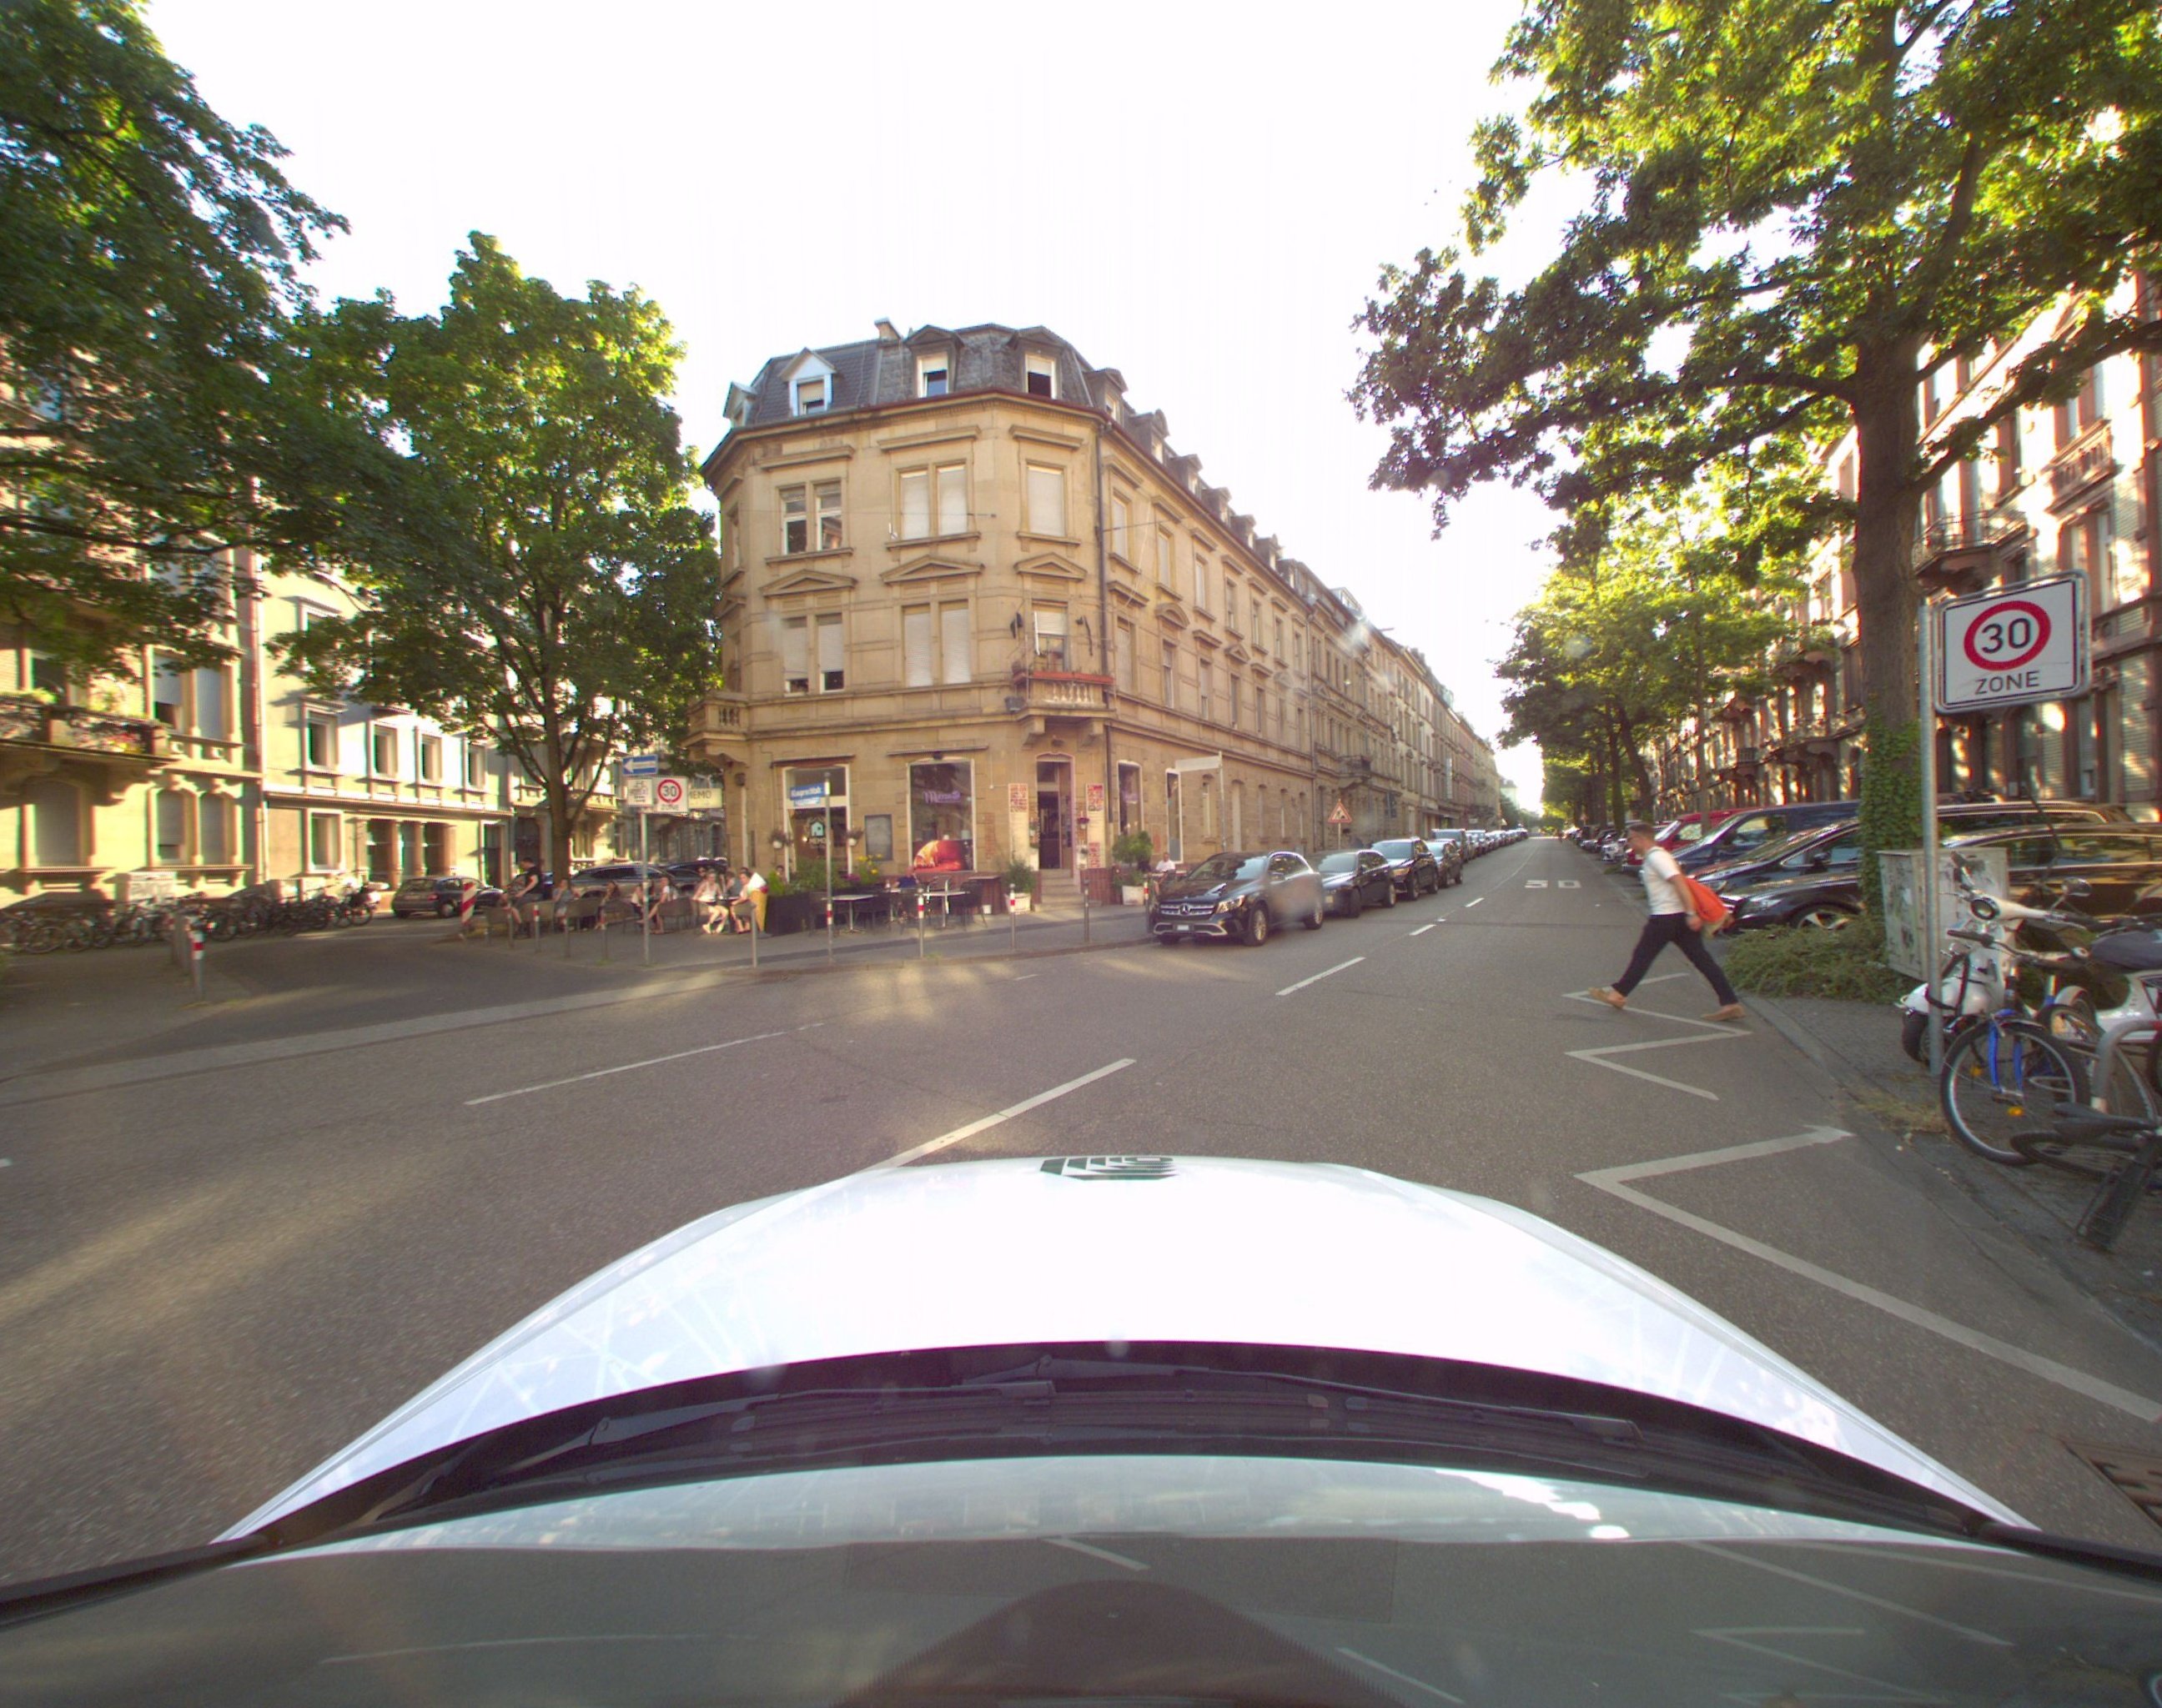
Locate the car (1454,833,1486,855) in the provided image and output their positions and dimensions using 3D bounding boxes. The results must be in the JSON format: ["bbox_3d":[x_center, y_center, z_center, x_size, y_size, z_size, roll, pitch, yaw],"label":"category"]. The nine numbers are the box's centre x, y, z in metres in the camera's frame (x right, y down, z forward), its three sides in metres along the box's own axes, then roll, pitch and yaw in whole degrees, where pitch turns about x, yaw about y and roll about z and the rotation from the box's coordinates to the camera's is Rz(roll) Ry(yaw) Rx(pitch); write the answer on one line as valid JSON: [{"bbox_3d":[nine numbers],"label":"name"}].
[{"bbox_3d":[27.303,-0.728,57.093,1.742,1.467,4.025,0,2,29],"label":"car"}]

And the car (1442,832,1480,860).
[{"bbox_3d":[23.998,-0.529,51.383,1.737,1.608,4.412,0,1,31],"label":"car"}]

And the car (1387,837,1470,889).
[{"bbox_3d":[11.657,0.254,27.167,1.741,1.501,4.086,-3,0,34],"label":"car"}]

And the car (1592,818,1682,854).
[{"bbox_3d":[33.207,-1.077,48.762,4.180,1.776,1.847,-4,-1,29],"label":"car"}]

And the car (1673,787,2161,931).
[{"bbox_3d":[11.354,0.169,11.596,4.641,1.679,1.863,-4,-1,36],"label":"car"}]

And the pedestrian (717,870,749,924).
[{"bbox_3d":[-8.215,1.014,19.245,0.476,1.248,0.436,-2,1,28],"label":"pedestrian"}]

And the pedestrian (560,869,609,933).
[{"bbox_3d":[-11.664,1.094,19.131,0.659,1.441,0.772,-4,0,43],"label":"pedestrian"}]

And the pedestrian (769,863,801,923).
[{"bbox_3d":[-6.961,0.914,19.136,0.476,1.367,0.436,-2,1,22],"label":"pedestrian"}]

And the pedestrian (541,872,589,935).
[{"bbox_3d":[-12.497,1.192,19.714,0.659,1.441,0.772,-4,0,43],"label":"pedestrian"}]

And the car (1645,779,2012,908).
[{"bbox_3d":[14.288,-0.122,16.085,4.973,2.215,2.005,-2,0,30],"label":"car"}]

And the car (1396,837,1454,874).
[{"bbox_3d":[15.853,0.024,37.422,1.741,1.501,4.086,-3,0,33],"label":"car"}]

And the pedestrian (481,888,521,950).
[{"bbox_3d":[-12.996,1.431,18.239,0.498,1.320,0.576,-2,1,41],"label":"pedestrian"}]

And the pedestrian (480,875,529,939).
[{"bbox_3d":[-13.370,1.224,18.900,0.660,1.412,0.772,-4,-1,45],"label":"pedestrian"}]

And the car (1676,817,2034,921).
[{"bbox_3d":[12.653,0.259,13.727,4.066,1.534,1.735,-2,0,31],"label":"car"}]

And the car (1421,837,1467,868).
[{"bbox_3d":[18.413,-0.117,41.248,1.577,1.475,3.723,0,1,32],"label":"car"}]

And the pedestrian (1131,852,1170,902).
[{"bbox_3d":[1.803,0.599,21.113,0.718,1.259,0.761,-2,0,28],"label":"pedestrian"}]

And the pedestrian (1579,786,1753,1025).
[{"bbox_3d":[5.037,0.415,7.108,1.103,1.898,0.848,-2,0,31],"label":"pedestrian"}]

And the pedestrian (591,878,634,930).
[{"bbox_3d":[-11.511,1.216,20.004,0.659,1.215,0.682,-4,0,41],"label":"pedestrian"}]

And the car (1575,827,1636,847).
[{"bbox_3d":[41.323,-1.330,64.203,3.814,1.293,1.728,-4,-1,27],"label":"car"}]

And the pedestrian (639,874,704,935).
[{"bbox_3d":[-8.850,1.086,17.616,1.012,1.248,0.754,-2,1,28],"label":"pedestrian"}]

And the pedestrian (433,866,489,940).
[{"bbox_3d":[-14.485,1.139,19.036,0.659,1.669,0.772,-4,0,29],"label":"pedestrian"}]

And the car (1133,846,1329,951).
[{"bbox_3d":[2.758,0.678,14.214,1.741,1.488,4.165,-3,-1,35],"label":"car"}]

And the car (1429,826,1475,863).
[{"bbox_3d":[21.078,-0.574,46.177,1.814,1.943,5.293,0,1,30],"label":"car"}]

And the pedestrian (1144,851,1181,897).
[{"bbox_3d":[2.226,0.549,22.210,0.718,1.214,0.761,-2,0,28],"label":"pedestrian"}]

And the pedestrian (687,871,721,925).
[{"bbox_3d":[-9.092,1.050,19.647,0.476,1.248,0.513,-2,1,28],"label":"pedestrian"}]

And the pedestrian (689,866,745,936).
[{"bbox_3d":[-7.677,0.989,17.189,0.748,1.411,0.731,-2,0,19],"label":"pedestrian"}]

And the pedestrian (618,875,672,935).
[{"bbox_3d":[-9.649,1.122,18.026,0.697,1.248,0.754,-2,1,28],"label":"pedestrian"}]

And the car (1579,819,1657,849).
[{"bbox_3d":[38.347,-1.388,58.248,4.193,1.795,1.841,-4,-1,11],"label":"car"}]

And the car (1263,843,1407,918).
[{"bbox_3d":[5.964,0.543,18.758,1.741,1.451,4.580,-3,-1,36],"label":"car"}]

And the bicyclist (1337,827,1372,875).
[{"bbox_3d":[10.580,-0.085,31.504,0.986,1.790,1.215,-3,-2,31],"label":"bicyclist"}]

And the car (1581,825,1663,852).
[{"bbox_3d":[35.389,-1.023,53.414,4.182,1.403,1.846,-4,-1,26],"label":"car"}]

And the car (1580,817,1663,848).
[{"bbox_3d":[40.596,-1.611,61.284,5.008,1.925,1.847,-4,-1,30],"label":"car"}]

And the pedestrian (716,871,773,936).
[{"bbox_3d":[-6.938,1.012,16.804,0.737,1.289,0.747,-2,0,21],"label":"pedestrian"}]

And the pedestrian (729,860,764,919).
[{"bbox_3d":[-8.253,0.875,20.108,0.563,1.431,0.484,-2,1,20],"label":"pedestrian"}]

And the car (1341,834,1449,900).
[{"bbox_3d":[8.919,0.308,22.888,1.741,1.600,4.580,-3,0,35],"label":"car"}]

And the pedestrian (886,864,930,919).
[{"bbox_3d":[-4.034,0.866,19.052,0.720,1.214,0.759,-2,0,11],"label":"pedestrian"}]

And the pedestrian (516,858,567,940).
[{"bbox_3d":[-12.227,1.006,18.451,0.565,1.770,0.772,-4,-1,43],"label":"pedestrian"}]
